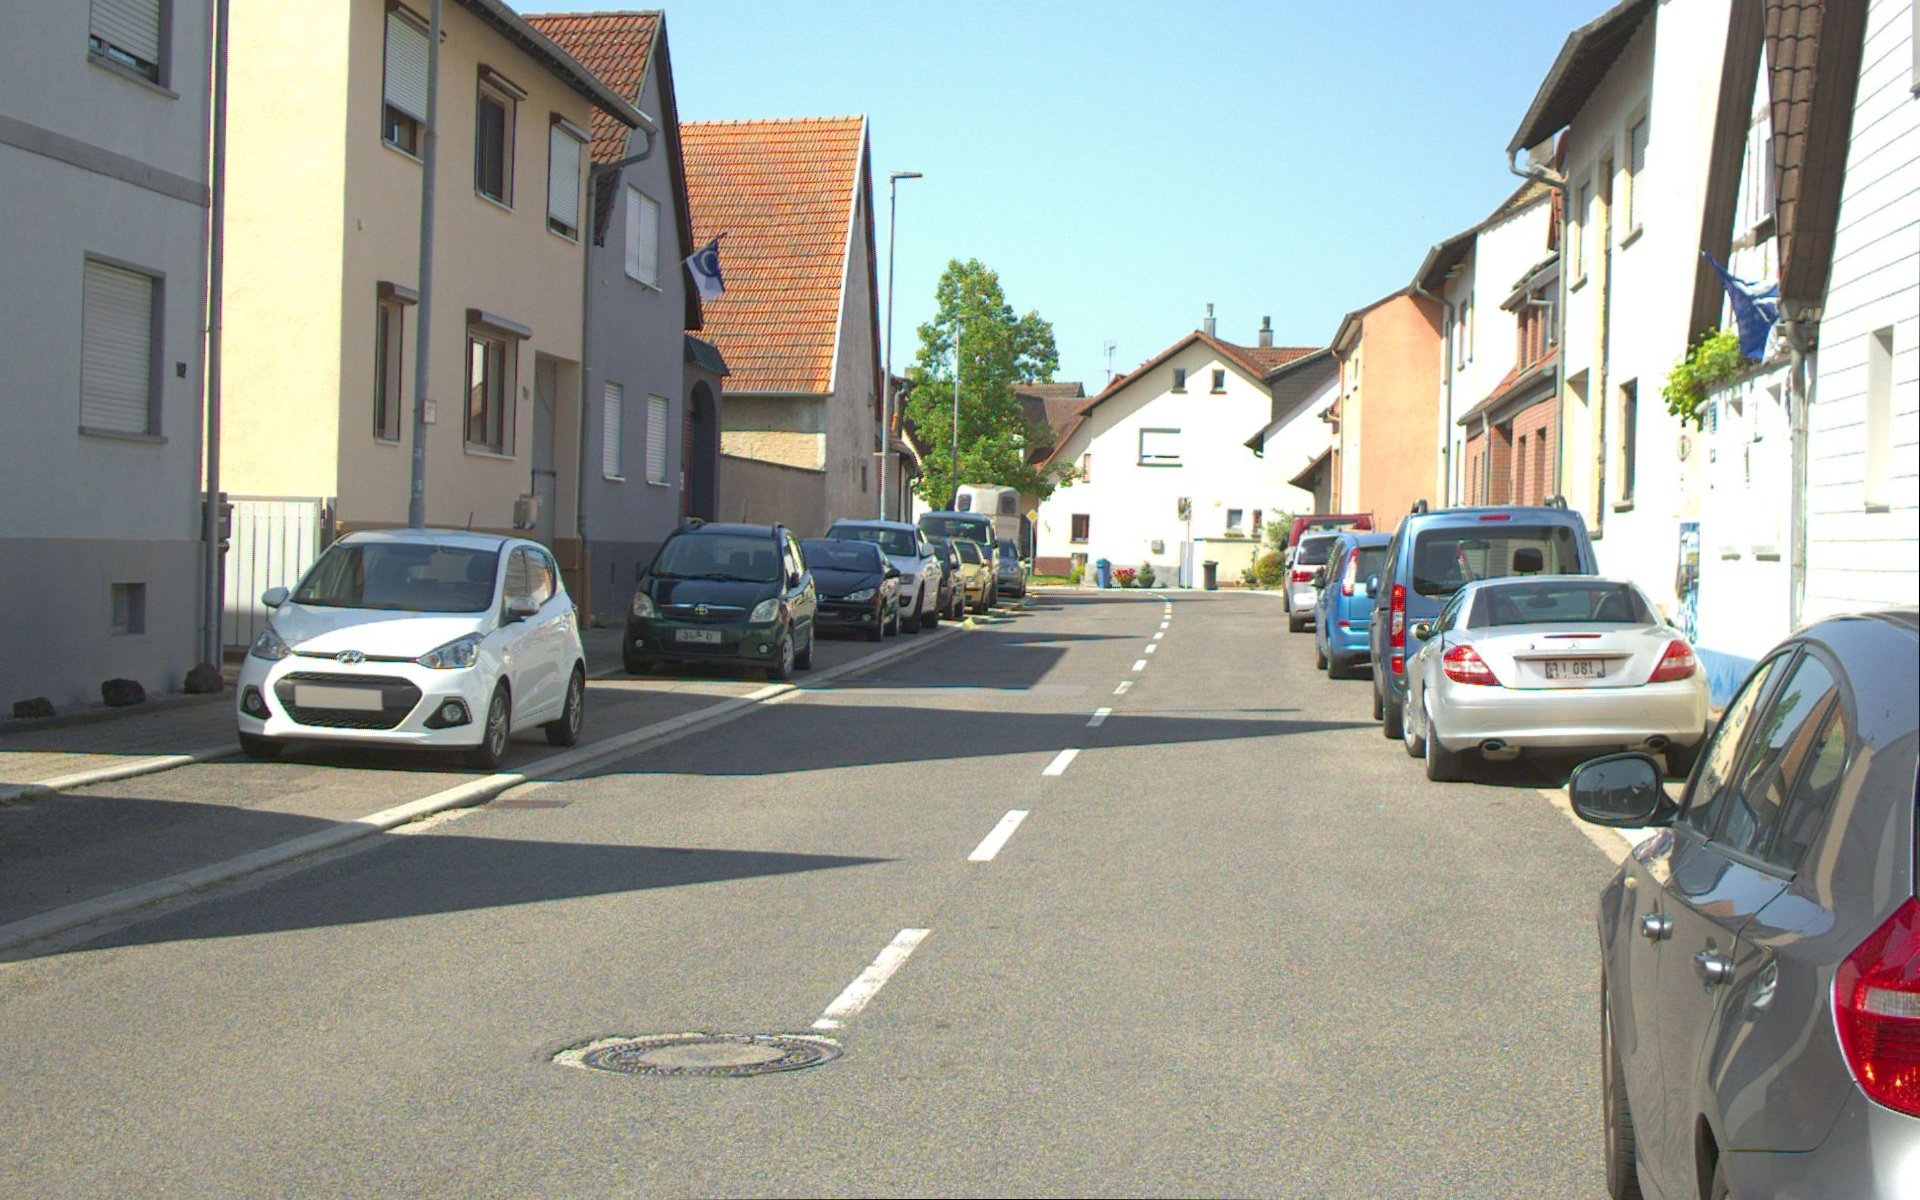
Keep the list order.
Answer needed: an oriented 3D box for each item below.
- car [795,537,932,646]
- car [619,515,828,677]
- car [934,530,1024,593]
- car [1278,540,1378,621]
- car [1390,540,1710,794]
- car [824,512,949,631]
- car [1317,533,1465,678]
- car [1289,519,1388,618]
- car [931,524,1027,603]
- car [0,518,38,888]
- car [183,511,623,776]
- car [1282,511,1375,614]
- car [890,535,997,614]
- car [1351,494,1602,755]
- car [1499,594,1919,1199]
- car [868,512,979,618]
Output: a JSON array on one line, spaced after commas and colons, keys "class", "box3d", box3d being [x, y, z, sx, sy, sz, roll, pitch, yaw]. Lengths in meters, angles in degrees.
[{"class": "car", "box3d": [-1.319, -0.129, 48.270, 1.504, 1.448, 3.508, 1, 0, 5]}, {"class": "car", "box3d": [-2.463, -0.064, 36.654, 1.619, 1.572, 3.961, 2, 1, 4]}, {"class": "car", "box3d": [0.485, -0.913, 82.838, 1.754, 1.437, 3.999, 1, 0, 6]}, {"class": "car", "box3d": [6.816, -0.357, 63.882, 1.767, 1.428, 3.449, 1, 0, 6]}, {"class": "car", "box3d": [3.812, 0.389, 22.699, 1.705, 1.491, 3.452, -2, 1, 4]}, {"class": "car", "box3d": [-1.100, -0.446, 52.774, 1.527, 1.707, 3.625, 2, 1, 4]}, {"class": "car", "box3d": [4.819, 0.039, 38.710, 1.420, 1.510, 3.303, 2, 1, 4]}, {"class": "car", "box3d": [6.170, -0.517, 56.217, 1.420, 1.510, 3.303, 2, 1, 4]}, {"class": "car", "box3d": [0.443, -0.769, 73.512, 1.754, 1.619, 3.999, 1, 0, 4]}, {"class": "car", "box3d": [-4.855, 0.410, 13.152, 1.553, 1.539, 2.987, 2, 1, 6]}, {"class": "car", "box3d": [-3.632, 0.240, 23.242, 1.806, 1.542, 4.403, 2, 1, 6]}, {"class": "car", "box3d": [7.413, -0.754, 69.345, 1.767, 1.997, 3.449, 1, 0, 6]}, {"class": "car", "box3d": [-0.293, -0.480, 65.988, 1.754, 1.437, 3.999, 1, 0, 4]}, {"class": "car", "box3d": [4.103, 0.159, 27.751, 1.649, 1.903, 3.625, 2, 1, 4]}, {"class": "car", "box3d": [1.997, 0.725, 6.151, 1.705, 1.428, 3.889, -1, 1, 4]}, {"class": "car", "box3d": [-0.600, -0.602, 58.791, 1.527, 1.707, 3.625, 2, 1, 4]}]
